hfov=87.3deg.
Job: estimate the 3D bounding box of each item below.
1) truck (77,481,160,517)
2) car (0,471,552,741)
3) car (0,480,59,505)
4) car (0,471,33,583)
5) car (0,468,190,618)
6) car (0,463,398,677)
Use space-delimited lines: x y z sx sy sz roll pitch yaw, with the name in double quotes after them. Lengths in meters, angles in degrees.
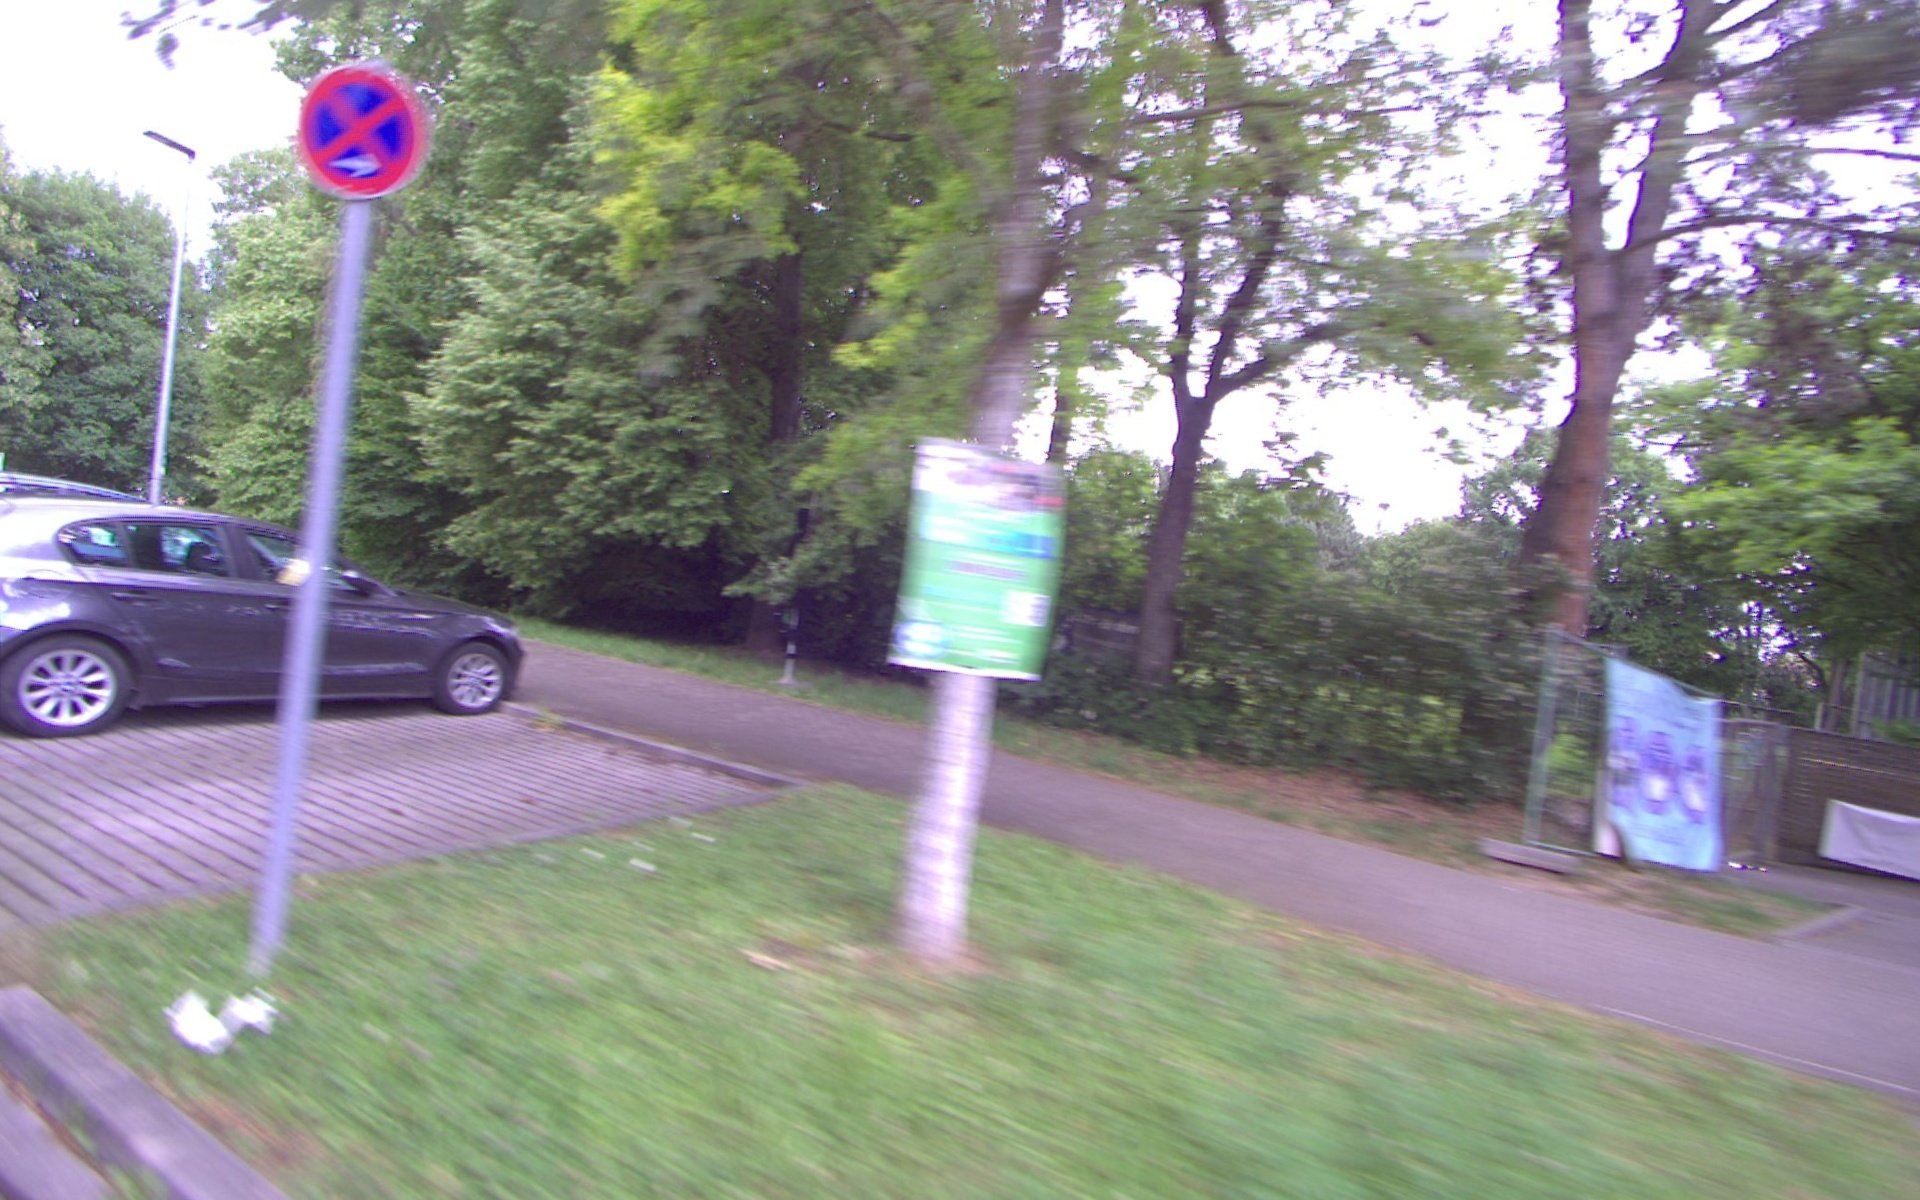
-78.938 -9.485 94.420 2.159 2.456 5.505 7 0 37 "truck"
-5.309 0.036 7.266 1.755 1.482 4.092 7 0 29 "car"
-82.854 -9.562 89.110 1.677 1.545 4.281 7 0 37 "car"
-15.570 -1.260 13.533 1.821 1.590 4.162 7 0 32 "car"
-11.498 -0.766 11.252 1.754 1.590 4.167 7 0 26 "car"
-7.435 -0.256 8.662 1.755 1.590 4.141 7 0 29 "car"
